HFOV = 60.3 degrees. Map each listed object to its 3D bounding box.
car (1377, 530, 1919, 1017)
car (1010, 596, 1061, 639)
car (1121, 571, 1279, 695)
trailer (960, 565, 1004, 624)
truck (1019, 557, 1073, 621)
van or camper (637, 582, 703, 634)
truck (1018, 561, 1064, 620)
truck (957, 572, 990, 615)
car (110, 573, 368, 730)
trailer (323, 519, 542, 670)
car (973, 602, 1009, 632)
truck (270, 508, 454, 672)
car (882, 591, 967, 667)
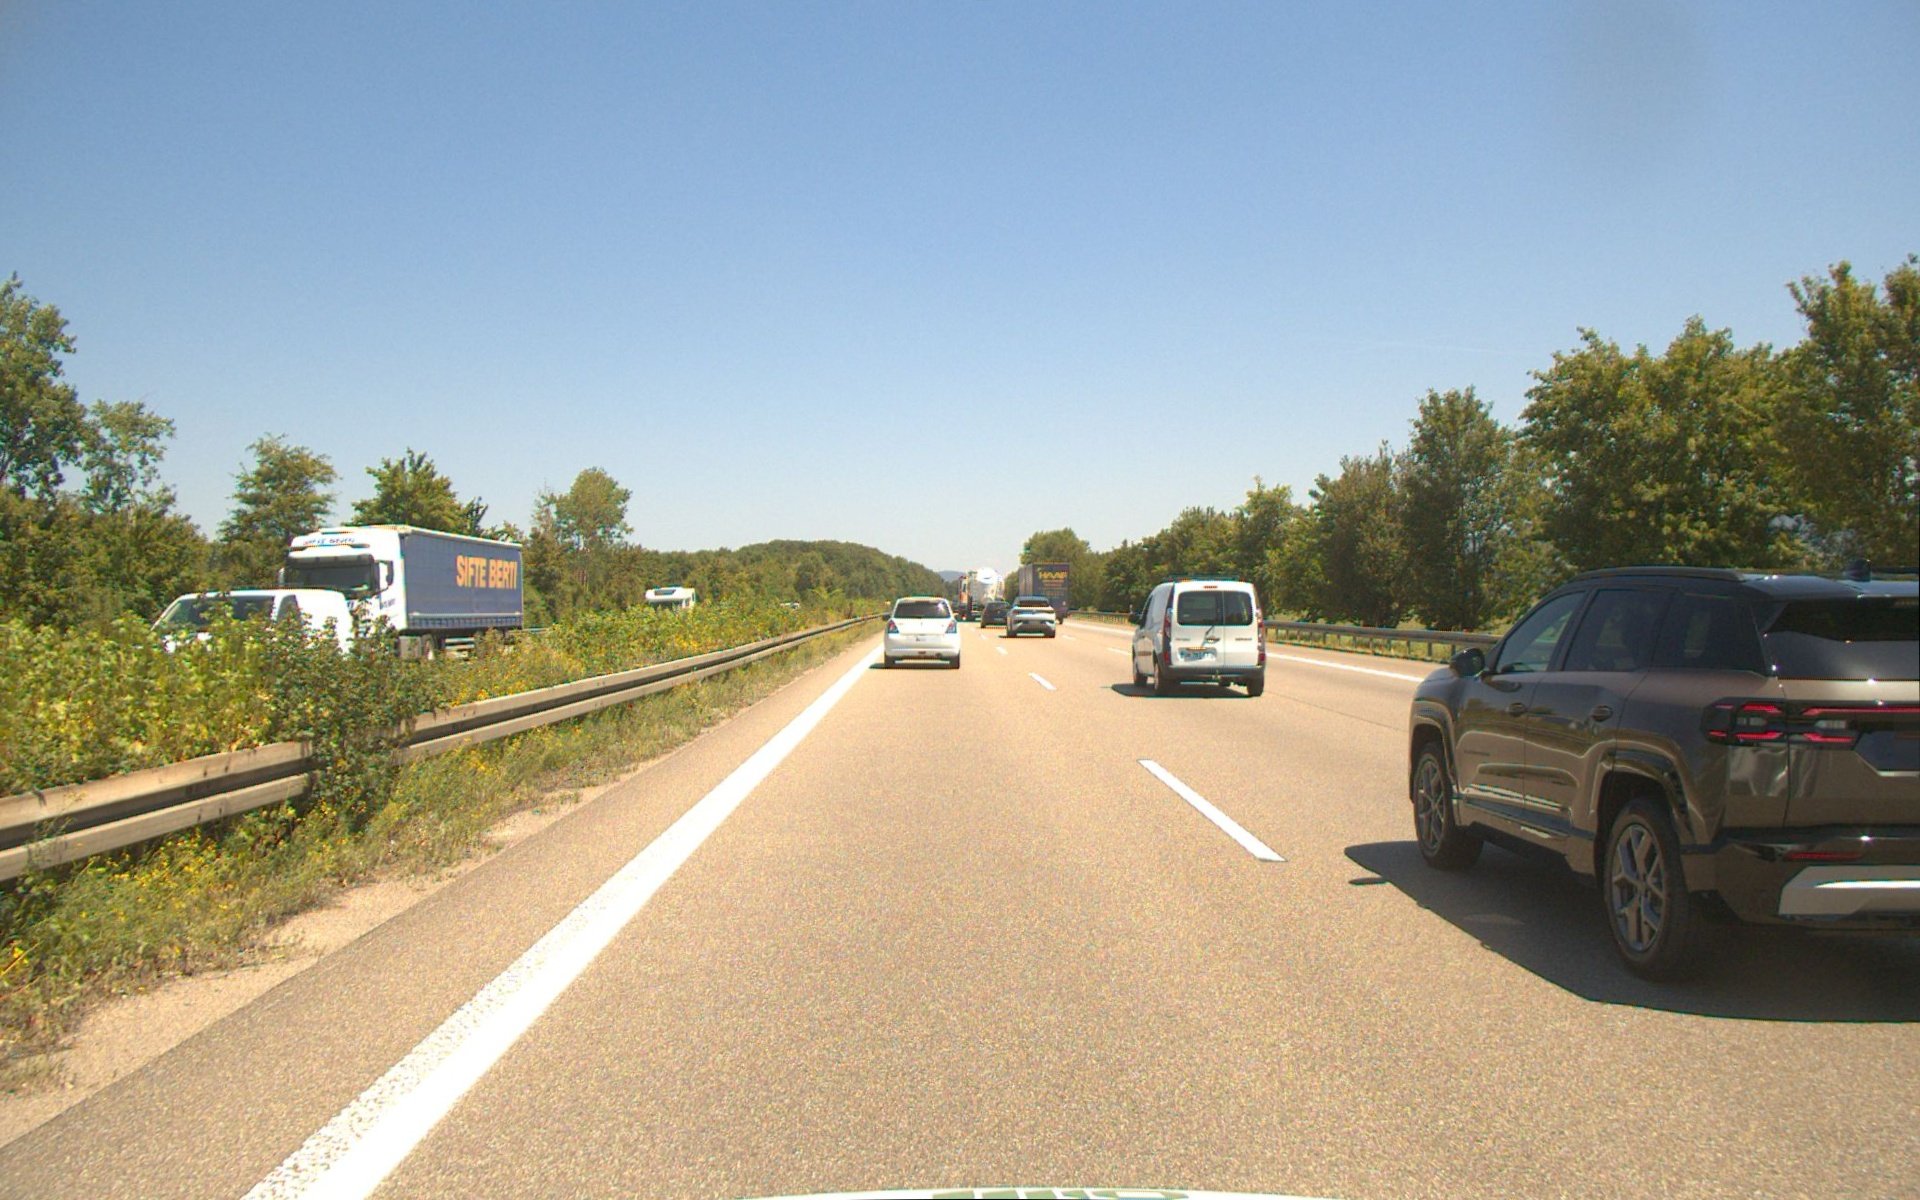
[{"bbox_3d":[3.625,0.627,8.218,1.829,1.704,4.745,1,0,-1],"label":"car"},{"bbox_3d":[3.005,0.681,66.755,1.765,1.631,4.380,1,0,-1],"label":"car"},{"bbox_3d":[3.942,0.511,27.902,1.816,1.895,4.700,1,0,-2],"label":"car"},{"bbox_3d":[1.594,-0.374,124.704,2.852,4.140,12.415,1,0,-1],"label":"trailer"},{"bbox_3d":[6.001,-0.707,118.188,3.045,4.211,15.510,1,0,0],"label":"truck"},{"bbox_3d":[-18.152,0.477,103.983,2.792,3.021,7.445,-2,0,-1],"label":"van or camper"},{"bbox_3d":[6.015,-0.691,124.174,3.045,4.211,8.055,1,0,0],"label":"truck"},{"bbox_3d":[1.392,-0.633,173.599,3.325,4.287,12.082,1,0,0],"label":"truck"},{"bbox_3d":[-10.638,0.709,24.826,1.954,2.109,4.710,1,0,-3],"label":"car"},{"bbox_3d":[-16.999,0.050,54.730,2.917,4.285,13.731,-2,-2,-1],"label":"trailer"},{"bbox_3d":[1.656,0.891,89.714,1.813,1.549,3.956,1,0,-1],"label":"car"},{"bbox_3d":[-16.918,-0.172,47.262,2.945,4.285,6.309,-2,-2,-1],"label":"truck"},{"bbox_3d":[-0.796,0.627,36.762,1.763,1.579,3.609,1,0,-2],"label":"car"}]
